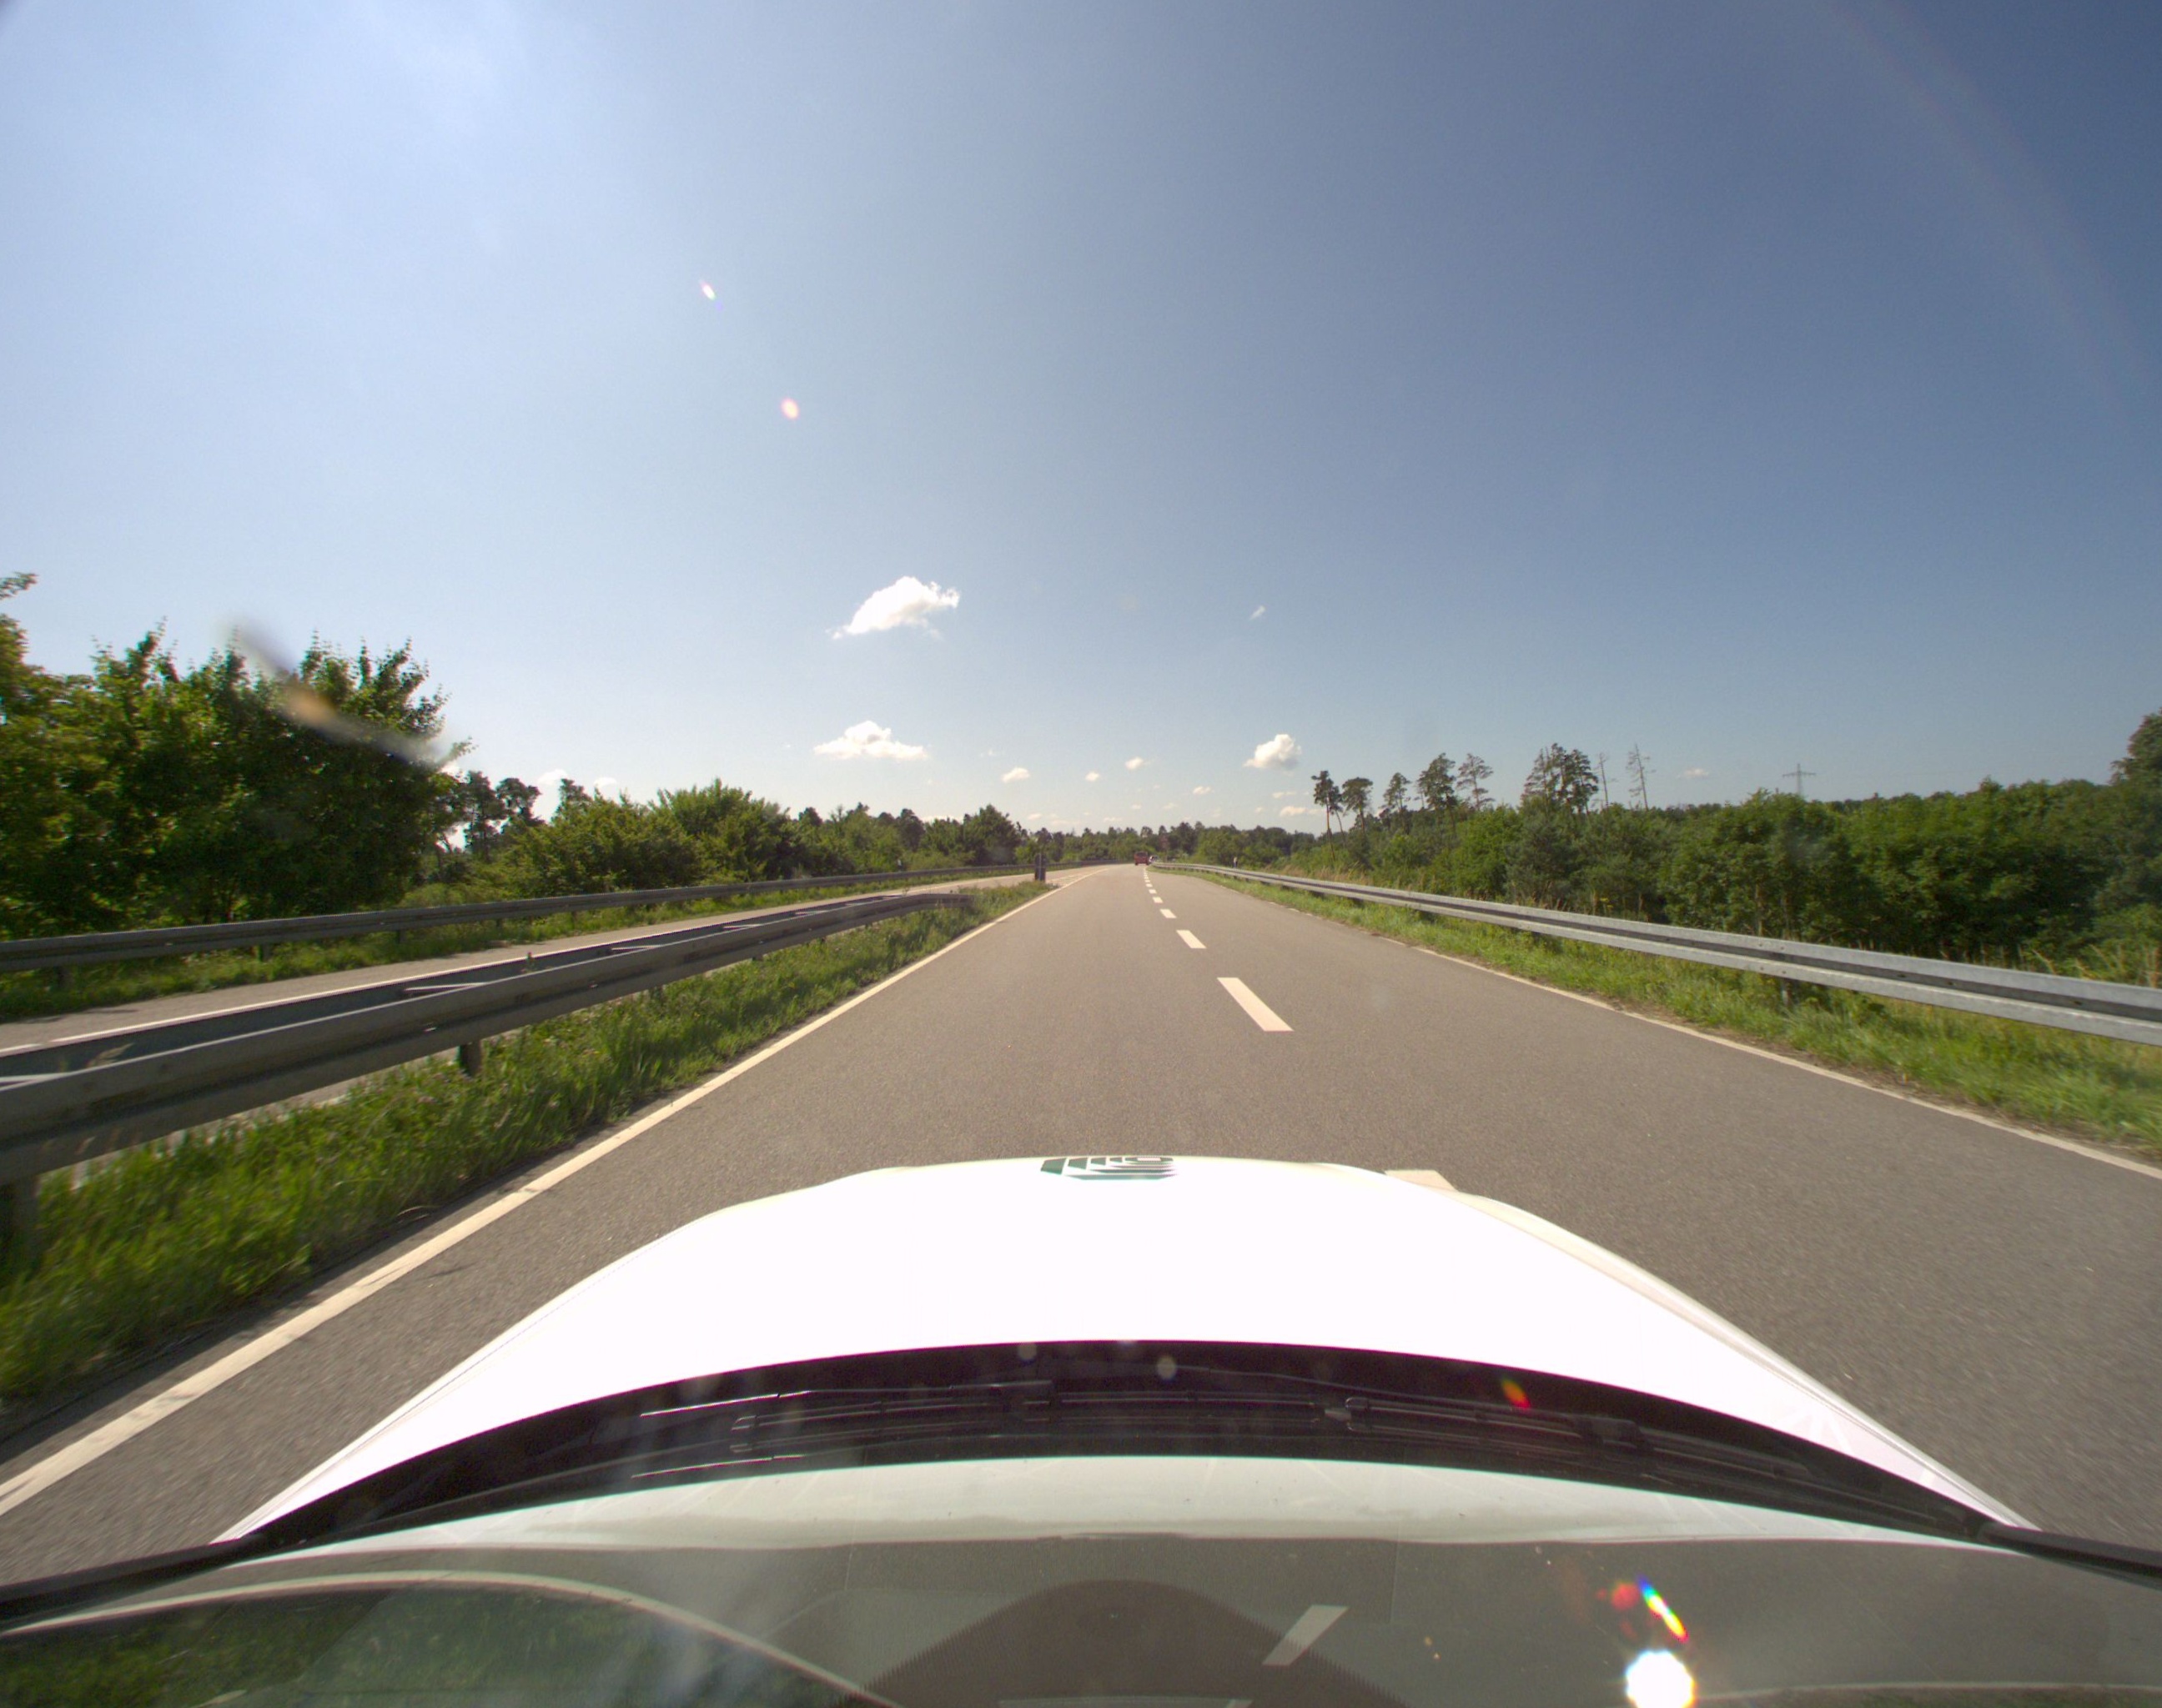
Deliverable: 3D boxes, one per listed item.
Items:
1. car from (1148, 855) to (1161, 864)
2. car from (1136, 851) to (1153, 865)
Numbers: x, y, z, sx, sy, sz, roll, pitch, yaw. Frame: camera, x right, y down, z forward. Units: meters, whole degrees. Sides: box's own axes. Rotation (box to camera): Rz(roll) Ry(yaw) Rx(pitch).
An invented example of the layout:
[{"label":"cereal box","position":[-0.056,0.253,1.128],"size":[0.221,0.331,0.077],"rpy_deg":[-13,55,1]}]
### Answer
[{"label":"car","position":[12.564,1.011,138.859],"size":[1.995,1.494,4.249],"rpy_deg":[0,-1,9]},{"label":"car","position":[9.157,0.612,117.274],"size":[2.065,1.993,5.124],"rpy_deg":[0,-1,9]}]
